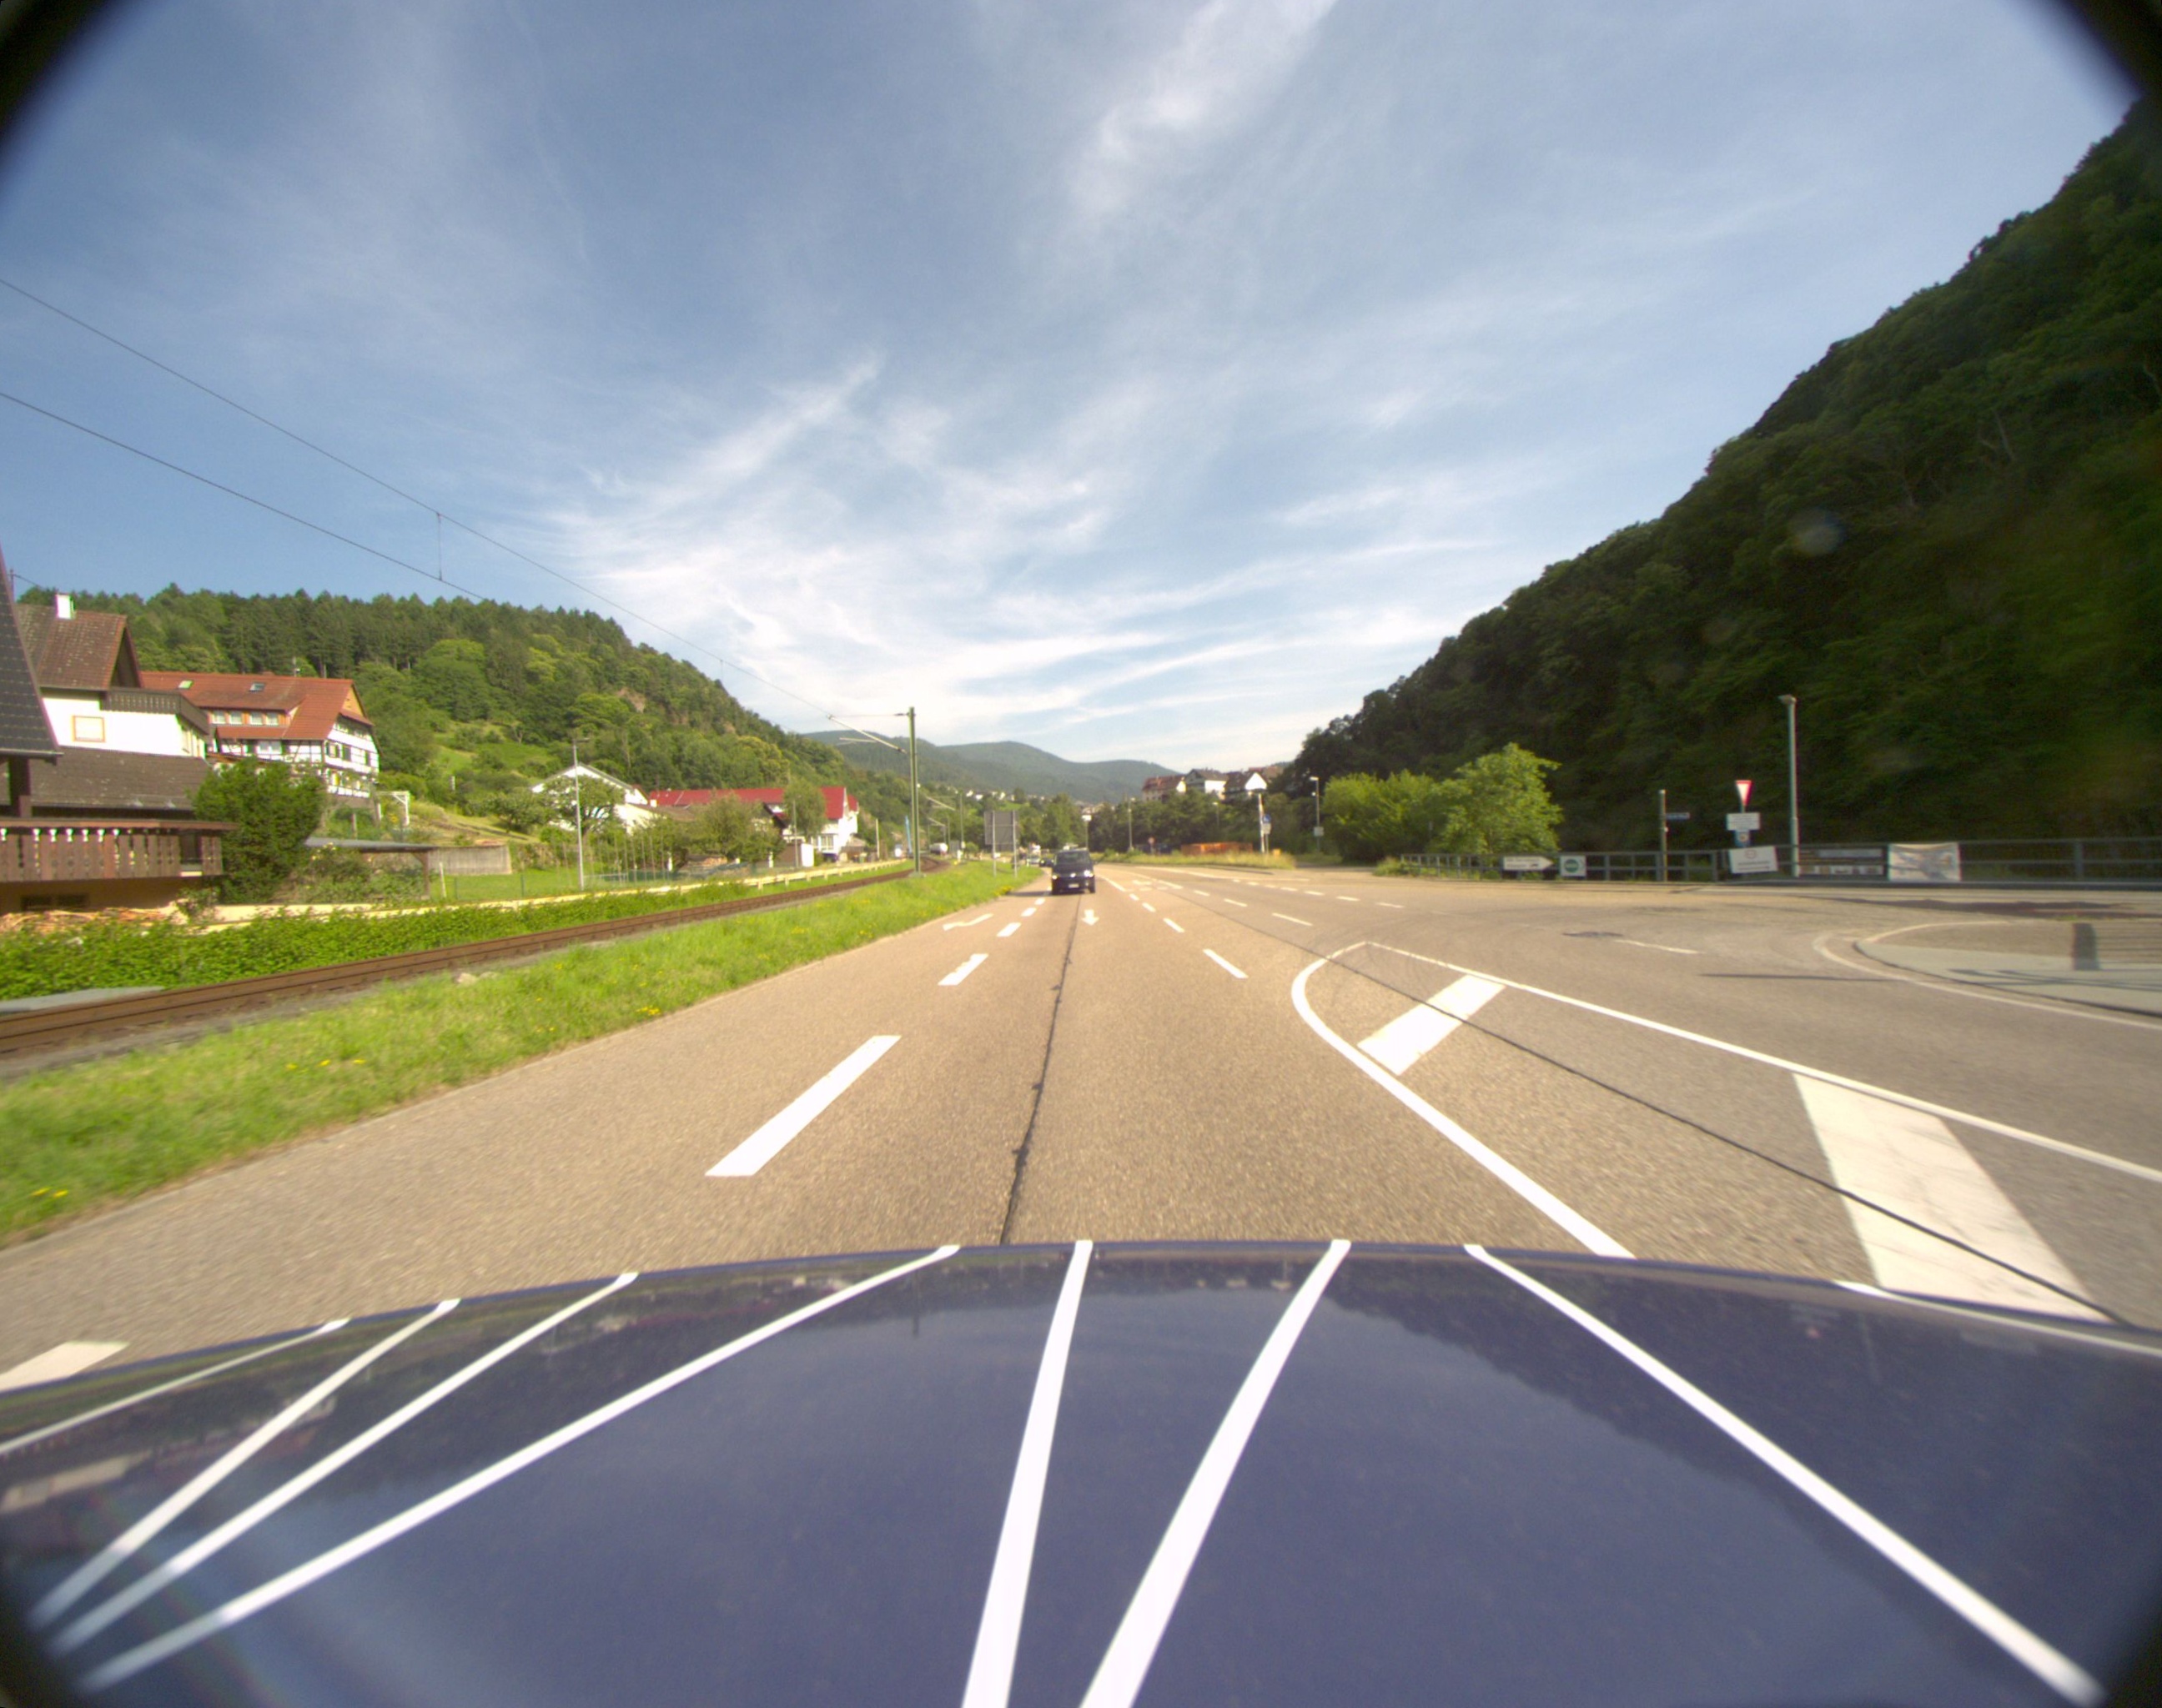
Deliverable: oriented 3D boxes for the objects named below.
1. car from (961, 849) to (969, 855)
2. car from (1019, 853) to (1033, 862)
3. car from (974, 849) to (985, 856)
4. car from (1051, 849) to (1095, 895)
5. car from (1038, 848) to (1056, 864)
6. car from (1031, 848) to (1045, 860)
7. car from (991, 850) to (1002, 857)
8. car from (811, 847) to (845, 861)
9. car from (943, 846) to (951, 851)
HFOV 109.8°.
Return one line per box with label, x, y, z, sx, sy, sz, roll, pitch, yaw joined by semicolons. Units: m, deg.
car;-35.448;-0.534;231.603;1.726;1.652;3.994;-3;1;-18
car;-11.580;0.714;159.697;2.001;1.652;3.994;-3;1;-16
car;-28.243;-0.375;210.758;2.002;1.652;3.993;-3;1;-21
car;-0.326;0.742;34.513;1.865;1.936;4.637;-1;1;0
car;-4.609;0.249;102.306;2.000;2.002;3.997;-2;0;-8
car;-6.941;-0.047;122.809;1.729;1.815;3.850;-3;1;-9
car;-21.222;-0.152;190.943;1.871;1.652;3.993;-3;1;-20
car;-34.800;0.010;104.532;3.998;1.762;1.830;-3;1;-5
car;-44.444;-1.847;252.321;2.002;1.652;3.993;-3;1;-20
